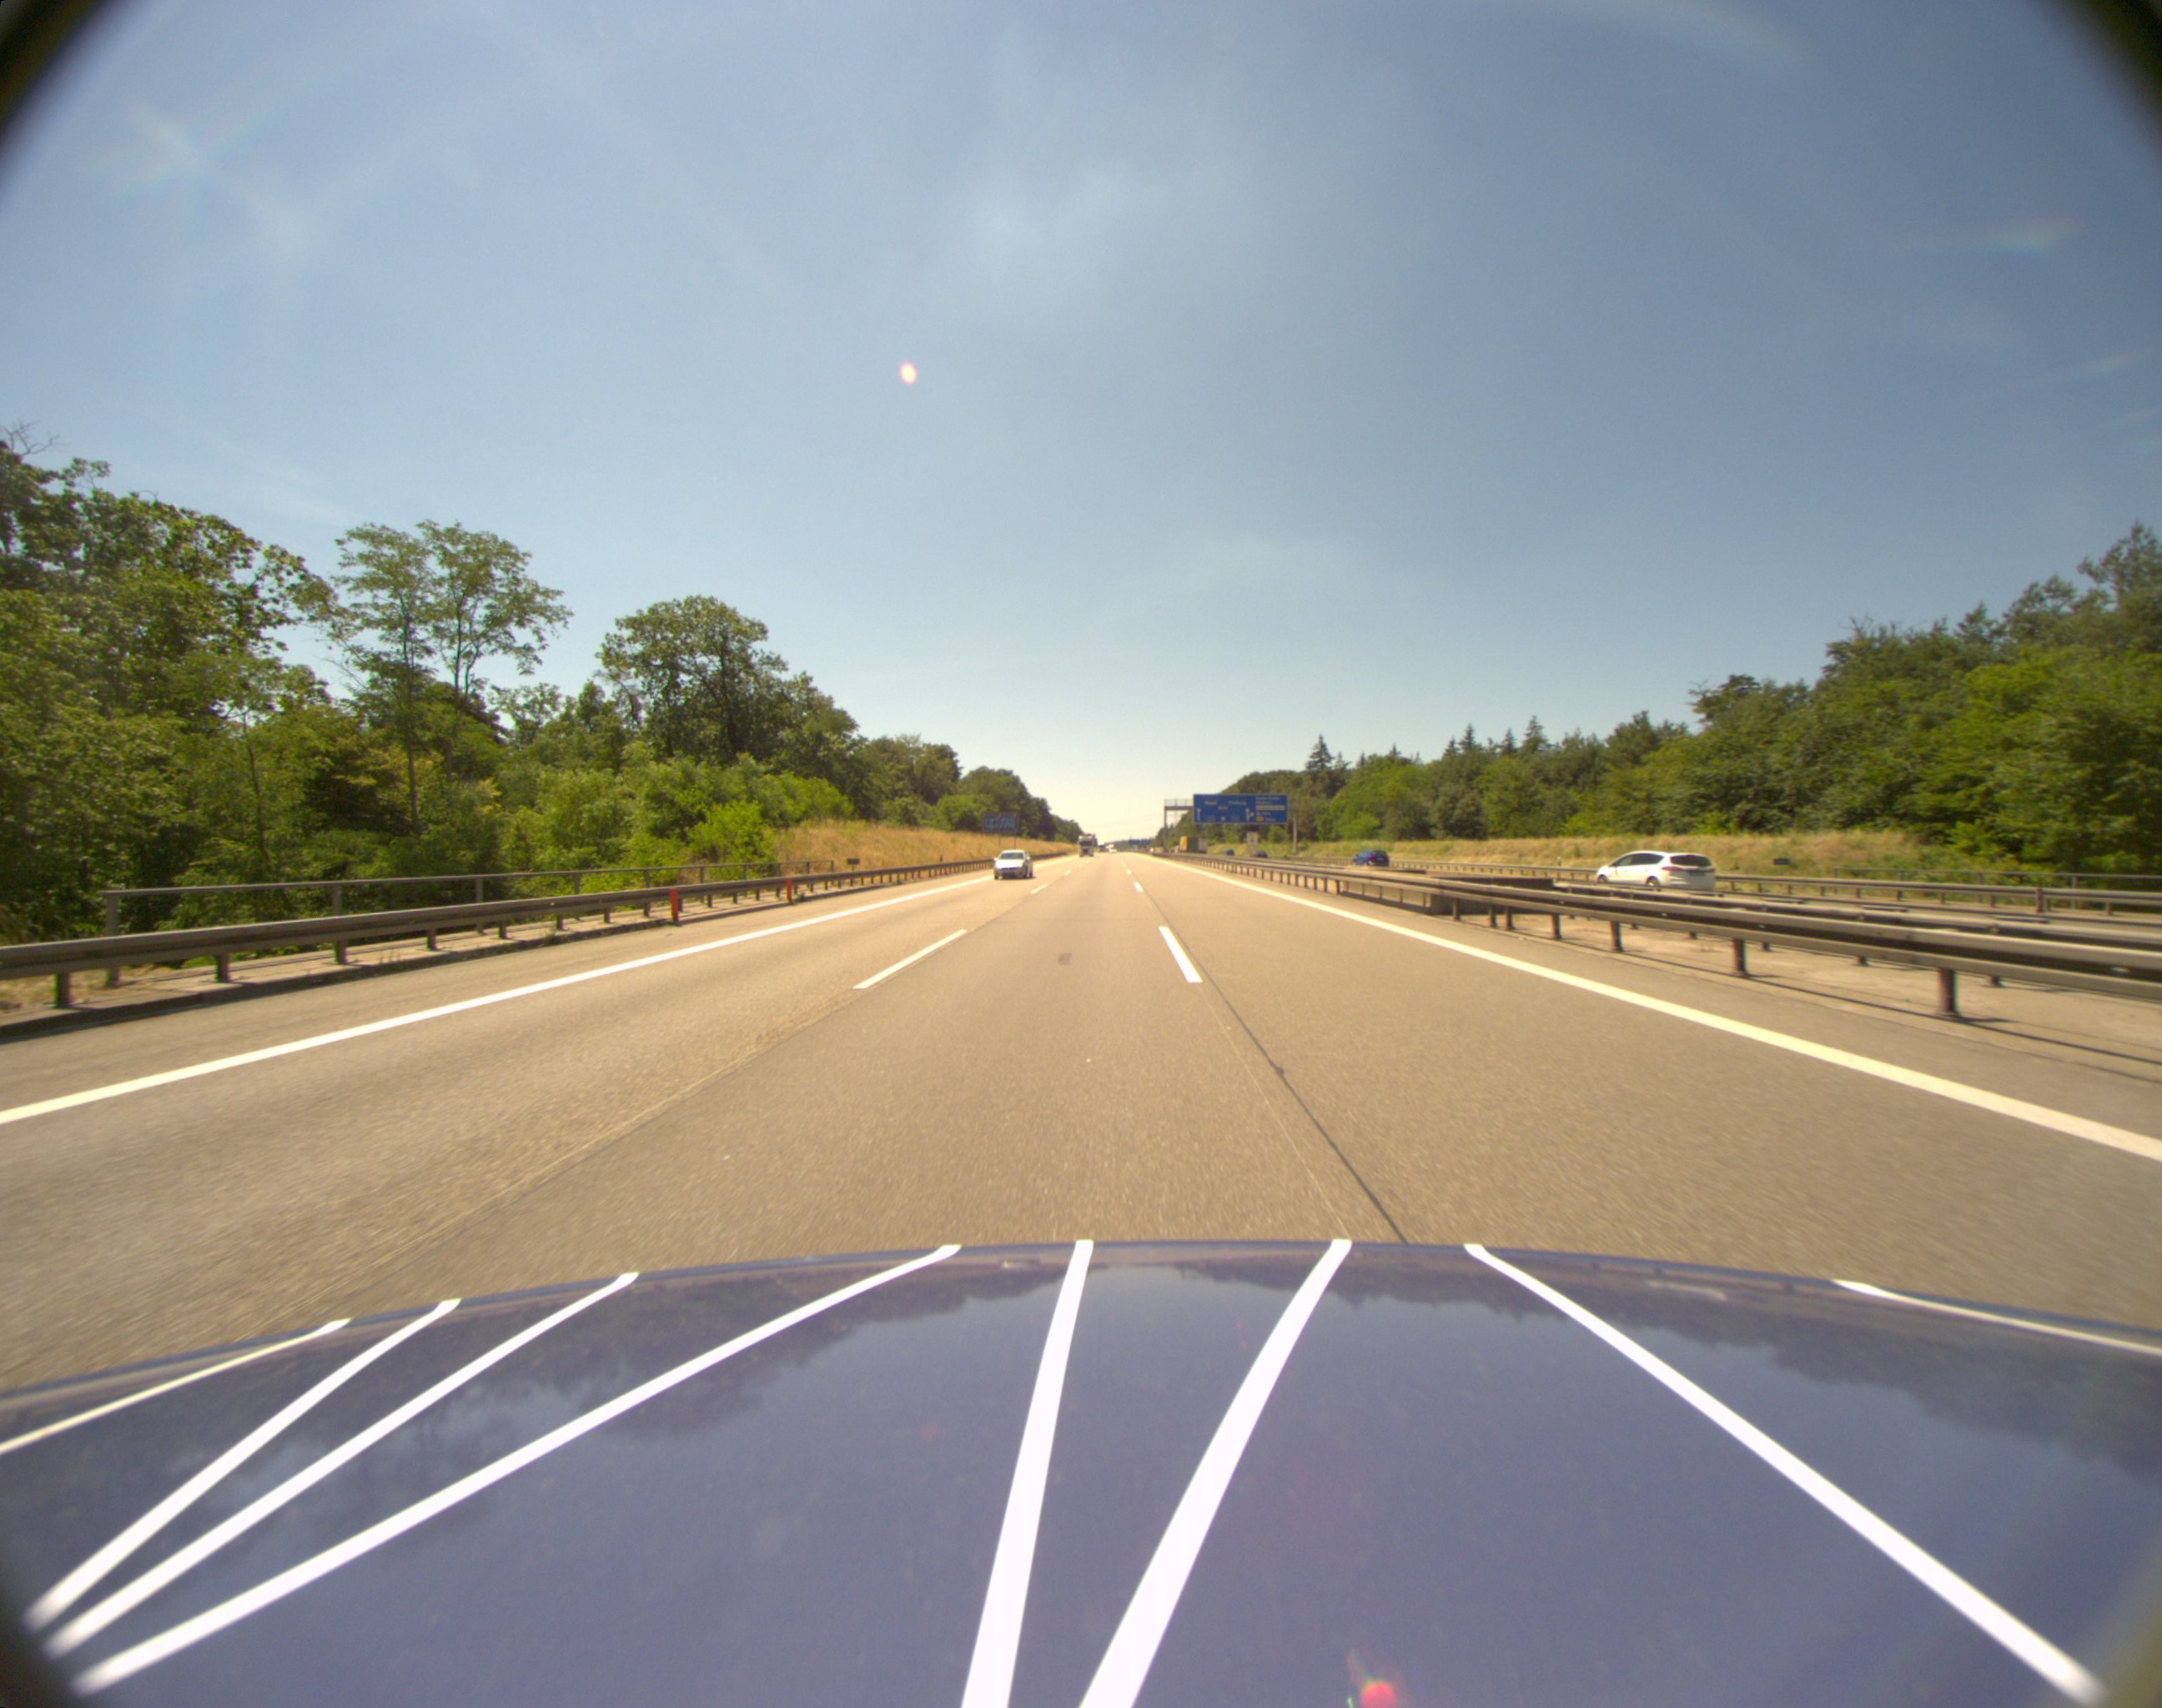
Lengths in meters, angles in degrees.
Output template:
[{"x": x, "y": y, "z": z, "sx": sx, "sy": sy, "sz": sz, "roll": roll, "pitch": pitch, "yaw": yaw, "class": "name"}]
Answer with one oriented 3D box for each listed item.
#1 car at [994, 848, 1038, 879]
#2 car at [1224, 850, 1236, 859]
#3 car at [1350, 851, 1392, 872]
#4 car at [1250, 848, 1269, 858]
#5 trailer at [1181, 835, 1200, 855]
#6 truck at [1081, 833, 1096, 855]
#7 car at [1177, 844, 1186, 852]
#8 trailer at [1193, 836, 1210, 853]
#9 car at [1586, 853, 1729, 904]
[{"x": -3.360, "y": 0.449, "z": 39.811, "sx": 1.749, "sy": 1.457, "sz": 3.980, "roll": -1, "pitch": 1, "yaw": 3, "class": "car"}, {"x": 27.005, "y": 0.113, "z": 137.631, "sx": 1.527, "sy": 1.531, "sz": 4.110, "roll": 2, "pitch": 1, "yaw": 2, "class": "car"}, {"x": 22.933, "y": 0.564, "z": 60.186, "sx": 1.706, "sy": 1.536, "sz": 4.535, "roll": 2, "pitch": 1, "yaw": 2, "class": "car"}, {"x": 25.735, "y": -0.178, "z": 109.782, "sx": 1.679, "sy": 1.358, "sz": 4.890, "roll": 2, "pitch": 1, "yaw": 2, "class": "car"}, {"x": 23.824, "y": -1.962, "z": 165.575, "sx": 2.469, "sy": 4.049, "sz": 14.279, "roll": 2, "pitch": 1, "yaw": 2, "class": "trailer"}, {"x": 1.396, "y": -1.815, "z": 139.083, "sx": 2.605, "sy": 3.812, "sz": 5.970, "roll": -1, "pitch": 1, "yaw": 3, "class": "truck"}, {"x": 31.794, "y": -1.963, "z": 240.894, "sx": 1.992, "sy": 2.327, "sz": 5.810, "roll": 2, "pitch": 1, "yaw": 1, "class": "car"}, {"x": 29.388, "y": -2.290, "z": 184.997, "sx": 2.631, "sy": 3.926, "sz": 11.158, "roll": 2, "pitch": 1, "yaw": 2, "class": "trailer"}, {"x": 21.849, "y": 0.856, "z": 29.125, "sx": 1.706, "sy": 1.651, "sz": 5.116, "roll": 2, "pitch": 1, "yaw": 2, "class": "car"}]
